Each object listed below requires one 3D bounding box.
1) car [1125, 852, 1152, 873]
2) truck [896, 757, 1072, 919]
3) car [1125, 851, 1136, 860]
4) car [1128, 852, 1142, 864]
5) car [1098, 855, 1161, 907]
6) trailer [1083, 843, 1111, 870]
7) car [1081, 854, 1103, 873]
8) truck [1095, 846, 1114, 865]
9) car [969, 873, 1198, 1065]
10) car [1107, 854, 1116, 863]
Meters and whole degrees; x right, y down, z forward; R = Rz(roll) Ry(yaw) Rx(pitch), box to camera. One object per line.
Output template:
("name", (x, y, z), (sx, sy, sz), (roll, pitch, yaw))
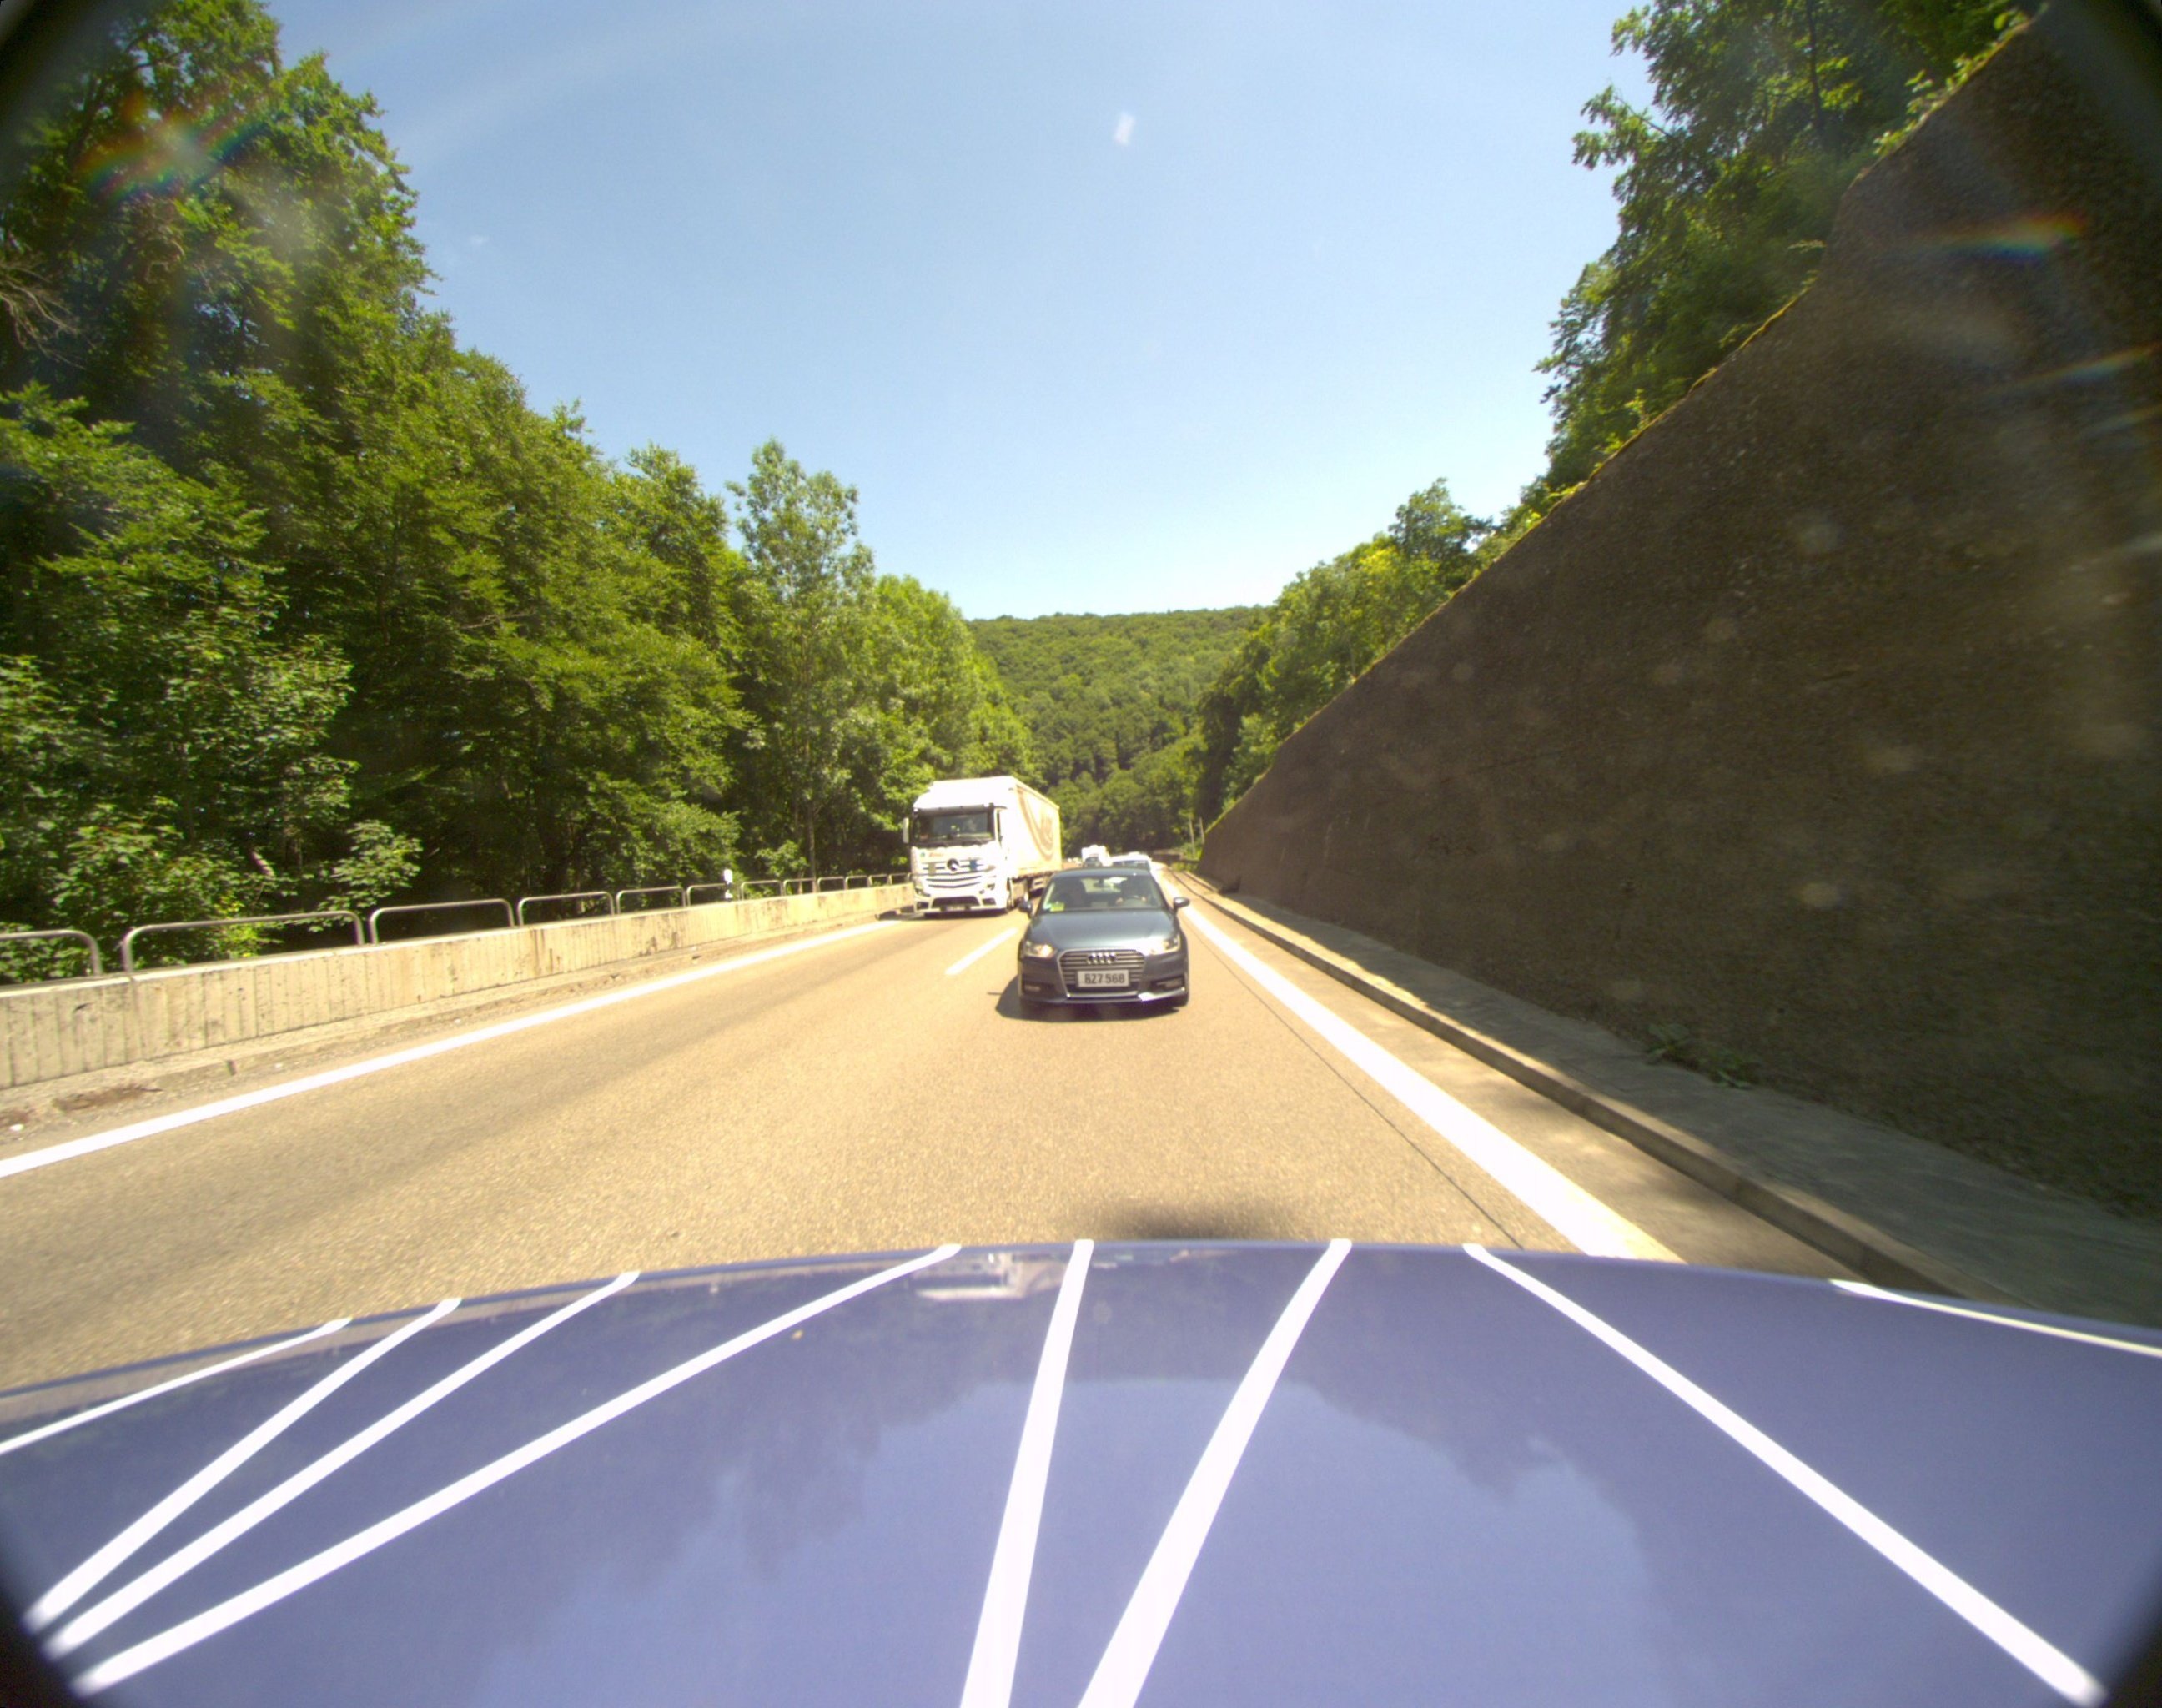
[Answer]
("car", (4.206, 0.630, 55.696), (1.905, 1.430, 3.870), (-2, 0, 4))
("truck", (-2.735, -0.381, 28.866), (2.968, 4.108, 16.713), (-5, -1, 4))
("car", (8.045, 0.238, 123.032), (1.618, 1.487, 3.657), (-3, 0, 3))
("car", (6.959, 0.527, 97.835), (1.618, 1.487, 3.657), (-2, 0, 5))
("car", (1.653, 0.800, 24.613), (1.754, 1.460, 3.984), (-2, 0, 7))
("trailer", (1.809, 0.272, 81.864), (2.527, 2.694, 9.507), (-2, 0, 4))
("car", (1.095, 0.890, 73.256), (1.998, 1.652, 4.000), (-2, 0, 1))
("truck", (3.258, 0.216, 105.680), (2.442, 2.394, 6.813), (-2, 0, 1))
("car", (0.156, 0.966, 8.021), (1.755, 1.350, 4.123), (-2, 0, 4))
("car", (6.117, 0.945, 151.943), (1.613, 1.707, 3.555), (-2, 0, 1))
